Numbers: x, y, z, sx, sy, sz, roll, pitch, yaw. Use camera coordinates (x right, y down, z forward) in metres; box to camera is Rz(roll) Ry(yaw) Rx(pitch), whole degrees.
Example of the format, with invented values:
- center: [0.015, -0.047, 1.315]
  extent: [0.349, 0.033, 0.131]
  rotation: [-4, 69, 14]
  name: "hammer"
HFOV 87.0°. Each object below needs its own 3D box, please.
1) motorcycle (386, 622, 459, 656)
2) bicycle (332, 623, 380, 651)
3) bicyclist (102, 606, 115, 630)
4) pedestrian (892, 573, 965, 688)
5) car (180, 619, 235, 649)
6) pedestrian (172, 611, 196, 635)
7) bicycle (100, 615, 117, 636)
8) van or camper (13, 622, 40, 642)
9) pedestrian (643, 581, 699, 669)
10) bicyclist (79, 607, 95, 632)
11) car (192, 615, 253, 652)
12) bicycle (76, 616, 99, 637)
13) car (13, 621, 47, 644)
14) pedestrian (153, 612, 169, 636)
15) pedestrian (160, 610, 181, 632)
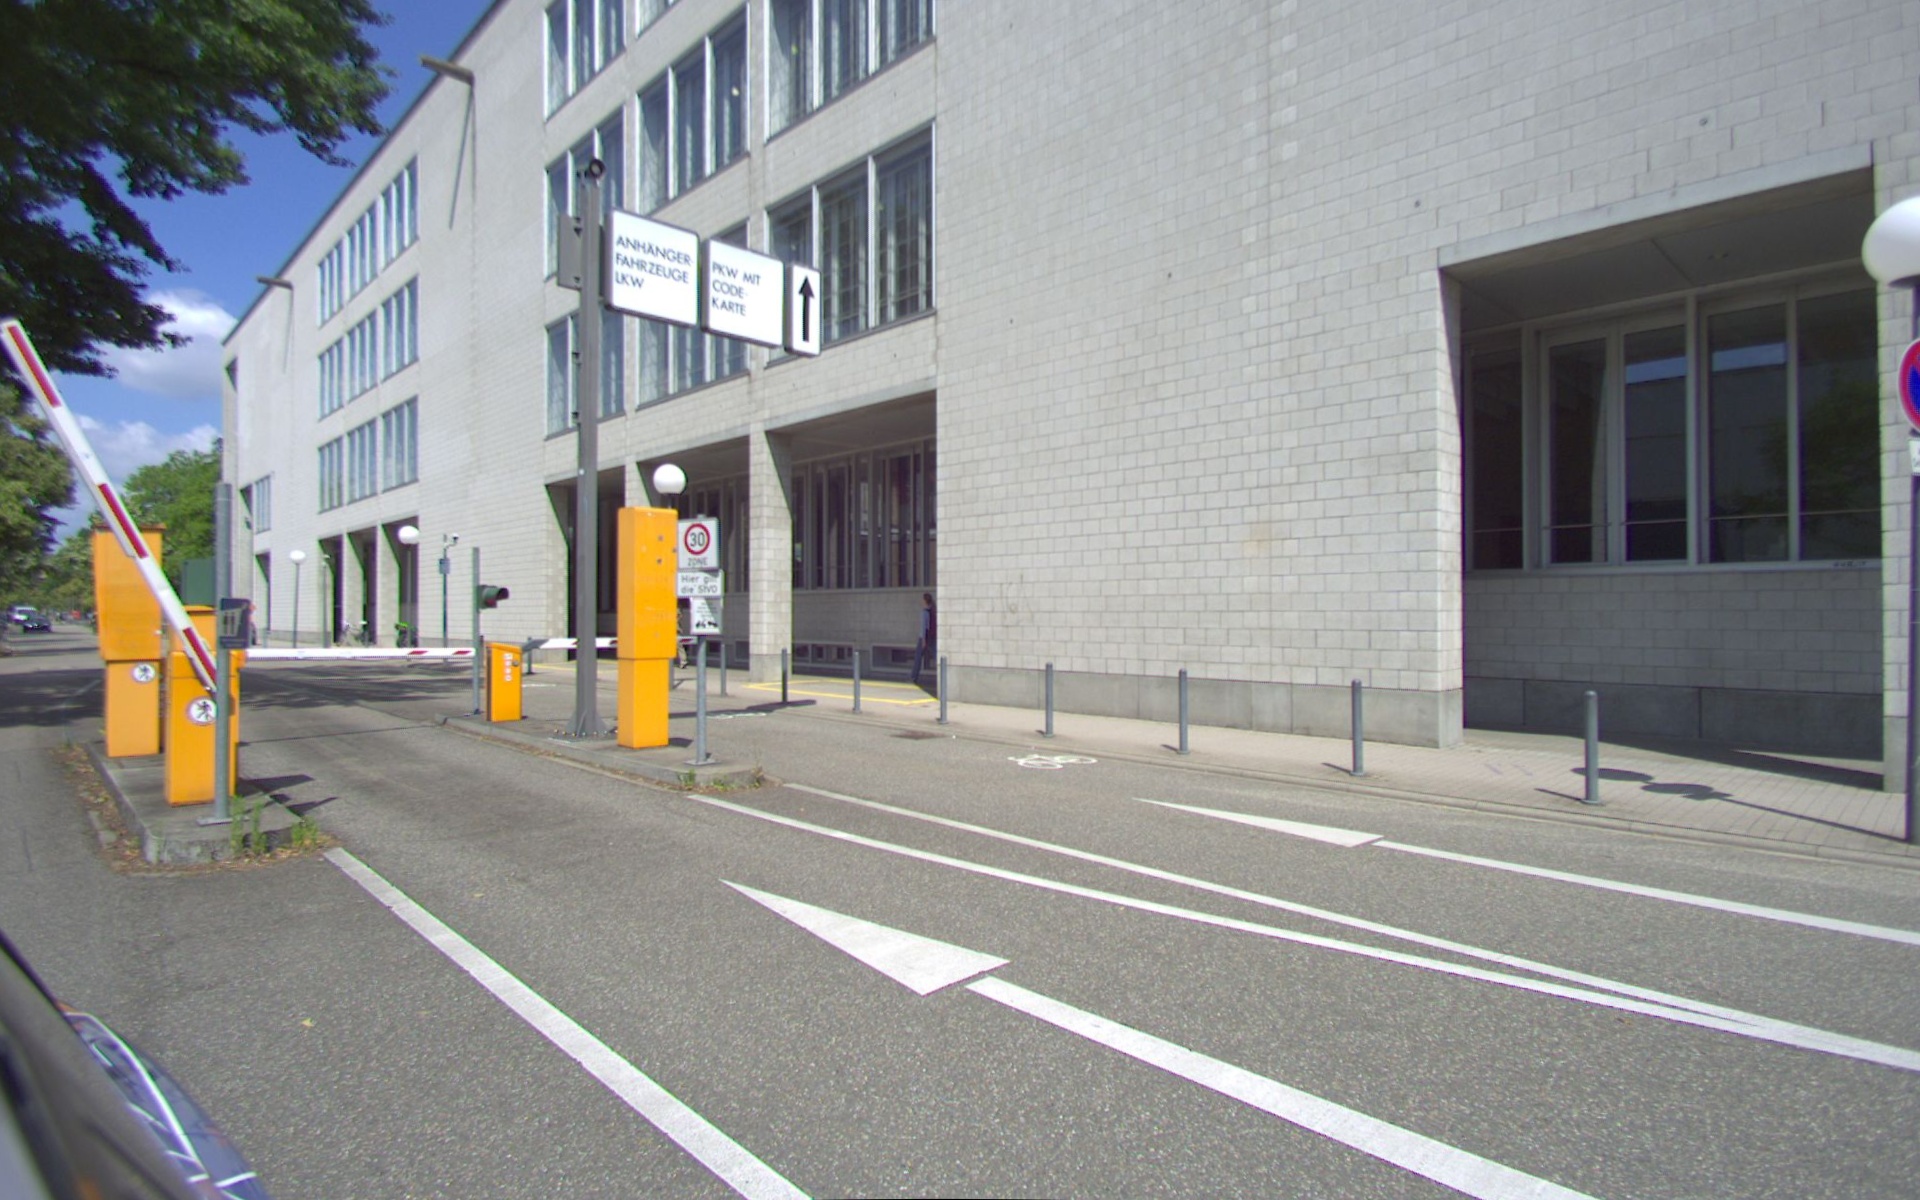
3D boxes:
- center: [-18.999, 1.352, 35.825]
  extent: [0.773, 1.146, 2.146]
  rotation: [-1, -1, 36]
  name: "motorcycle"
- center: [-25.334, 1.539, 42.453]
  extent: [0.608, 1.095, 1.621]
  rotation: [-1, -1, 41]
  name: "bicycle"
- center: [-62.791, 1.332, 74.628]
  extent: [0.696, 1.778, 0.602]
  rotation: [-1, -1, 38]
  name: "bicyclist"
- center: [-0.583, 0.549, 18.527]
  extent: [1.066, 2.029, 0.838]
  rotation: [-1, -2, 44]
  name: "pedestrian"
- center: [-37.844, 1.683, 50.824]
  extent: [1.706, 1.433, 4.669]
  rotation: [0, -1, -43]
  name: "car"
- center: [-61.274, 1.805, 79.882]
  extent: [1.380, 1.838, 1.370]
  rotation: [0, -1, -44]
  name: "pedestrian"
- center: [-62.820, 1.900, 74.649]
  extent: [1.933, 1.505, 0.631]
  rotation: [-1, 0, 38]
  name: "bicycle"
- center: [-113.655, 3.923, 123.209]
  extent: [1.967, 2.379, 4.392]
  rotation: [1, -2, -37]
  name: "van or camper"
- center: [-6.823, 0.589, 23.886]
  extent: [1.066, 2.029, 0.838]
  rotation: [-1, -2, 44]
  name: "pedestrian"
- center: [-62.697, 1.376, 72.704]
  extent: [0.732, 1.790, 0.752]
  rotation: [-1, -1, 36]
  name: "bicyclist"
- center: [-34.077, 1.507, 46.729]
  extent: [1.706, 1.546, 4.410]
  rotation: [-2, 1, -43]
  name: "car"
- center: [-62.744, 1.899, 72.766]
  extent: [2.058, 1.505, 0.788]
  rotation: [-1, 0, 37]
  name: "bicycle"
- center: [-75.743, 2.618, 82.458]
  extent: [1.969, 1.829, 4.005]
  rotation: [1, -2, -42]
  name: "car"
- center: [-59.510, 1.808, 75.360]
  extent: [0.749, 1.738, 1.238]
  rotation: [-3, 1, -33]
  name: "pedestrian"
- center: [-74.756, 2.004, 95.819]
  extent: [1.380, 2.029, 1.370]
  rotation: [0, -1, -44]
  name: "pedestrian"
